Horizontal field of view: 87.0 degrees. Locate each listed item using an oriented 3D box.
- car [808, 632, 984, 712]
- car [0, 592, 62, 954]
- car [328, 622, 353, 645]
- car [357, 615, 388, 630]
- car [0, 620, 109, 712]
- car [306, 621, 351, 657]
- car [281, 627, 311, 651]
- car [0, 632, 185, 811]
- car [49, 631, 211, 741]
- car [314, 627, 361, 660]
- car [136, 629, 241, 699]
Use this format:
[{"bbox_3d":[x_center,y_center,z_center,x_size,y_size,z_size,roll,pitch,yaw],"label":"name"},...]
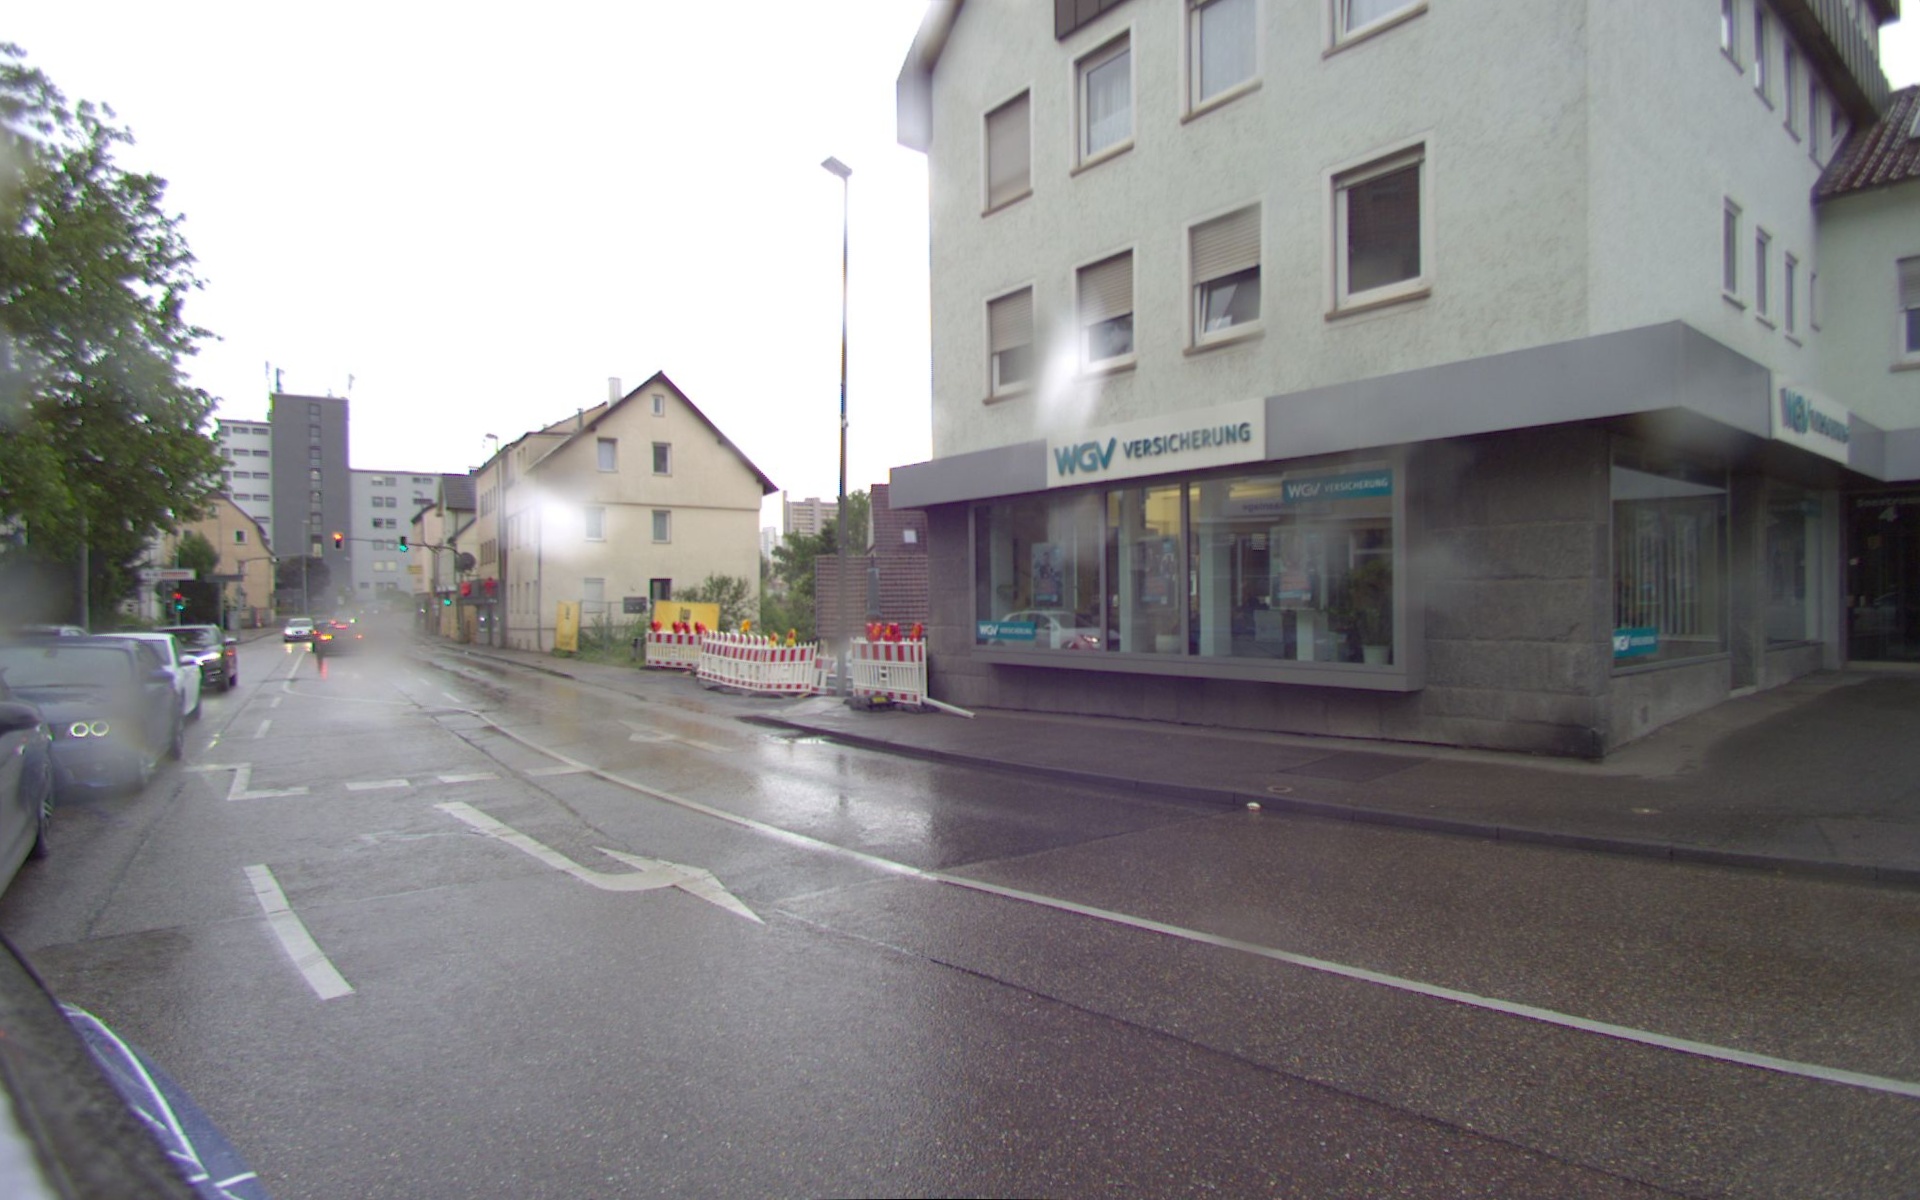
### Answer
[{"bbox_3d":[-1.322,1.586,21.789,3.456,1.401,1.653,10,-10,-41],"label":"car"},{"bbox_3d":[-5.608,0.804,4.759,1.792,1.583,4.284,-1,-1,-38],"label":"car"},{"bbox_3d":[-54.694,2.933,89.381,1.764,1.866,3.846,-1,-1,-33],"label":"car"},{"bbox_3d":[-63.388,2.423,109.262,1.765,1.577,3.844,-1,-1,-12],"label":"car"},{"bbox_3d":[-20.095,1.354,21.769,1.904,1.794,4.748,0,-2,-30],"label":"car"},{"bbox_3d":[-32.029,1.971,51.268,1.791,1.657,4.287,-1,-1,-34],"label":"car"},{"bbox_3d":[-45.092,2.608,68.770,1.589,1.515,3.728,-2,0,-32],"label":"car"},{"bbox_3d":[-8.778,1.036,9.855,1.615,1.443,3.816,1,-2,-33],"label":"car"},{"bbox_3d":[-12.844,1.237,15.867,1.660,1.432,4.010,-1,-1,-35],"label":"car"},{"bbox_3d":[-28.302,1.934,45.950,1.684,1.394,3.679,-1,-1,-33],"label":"car"},{"bbox_3d":[-18.462,1.464,24.358,1.659,1.472,4.011,-1,-1,-33],"label":"car"}]
